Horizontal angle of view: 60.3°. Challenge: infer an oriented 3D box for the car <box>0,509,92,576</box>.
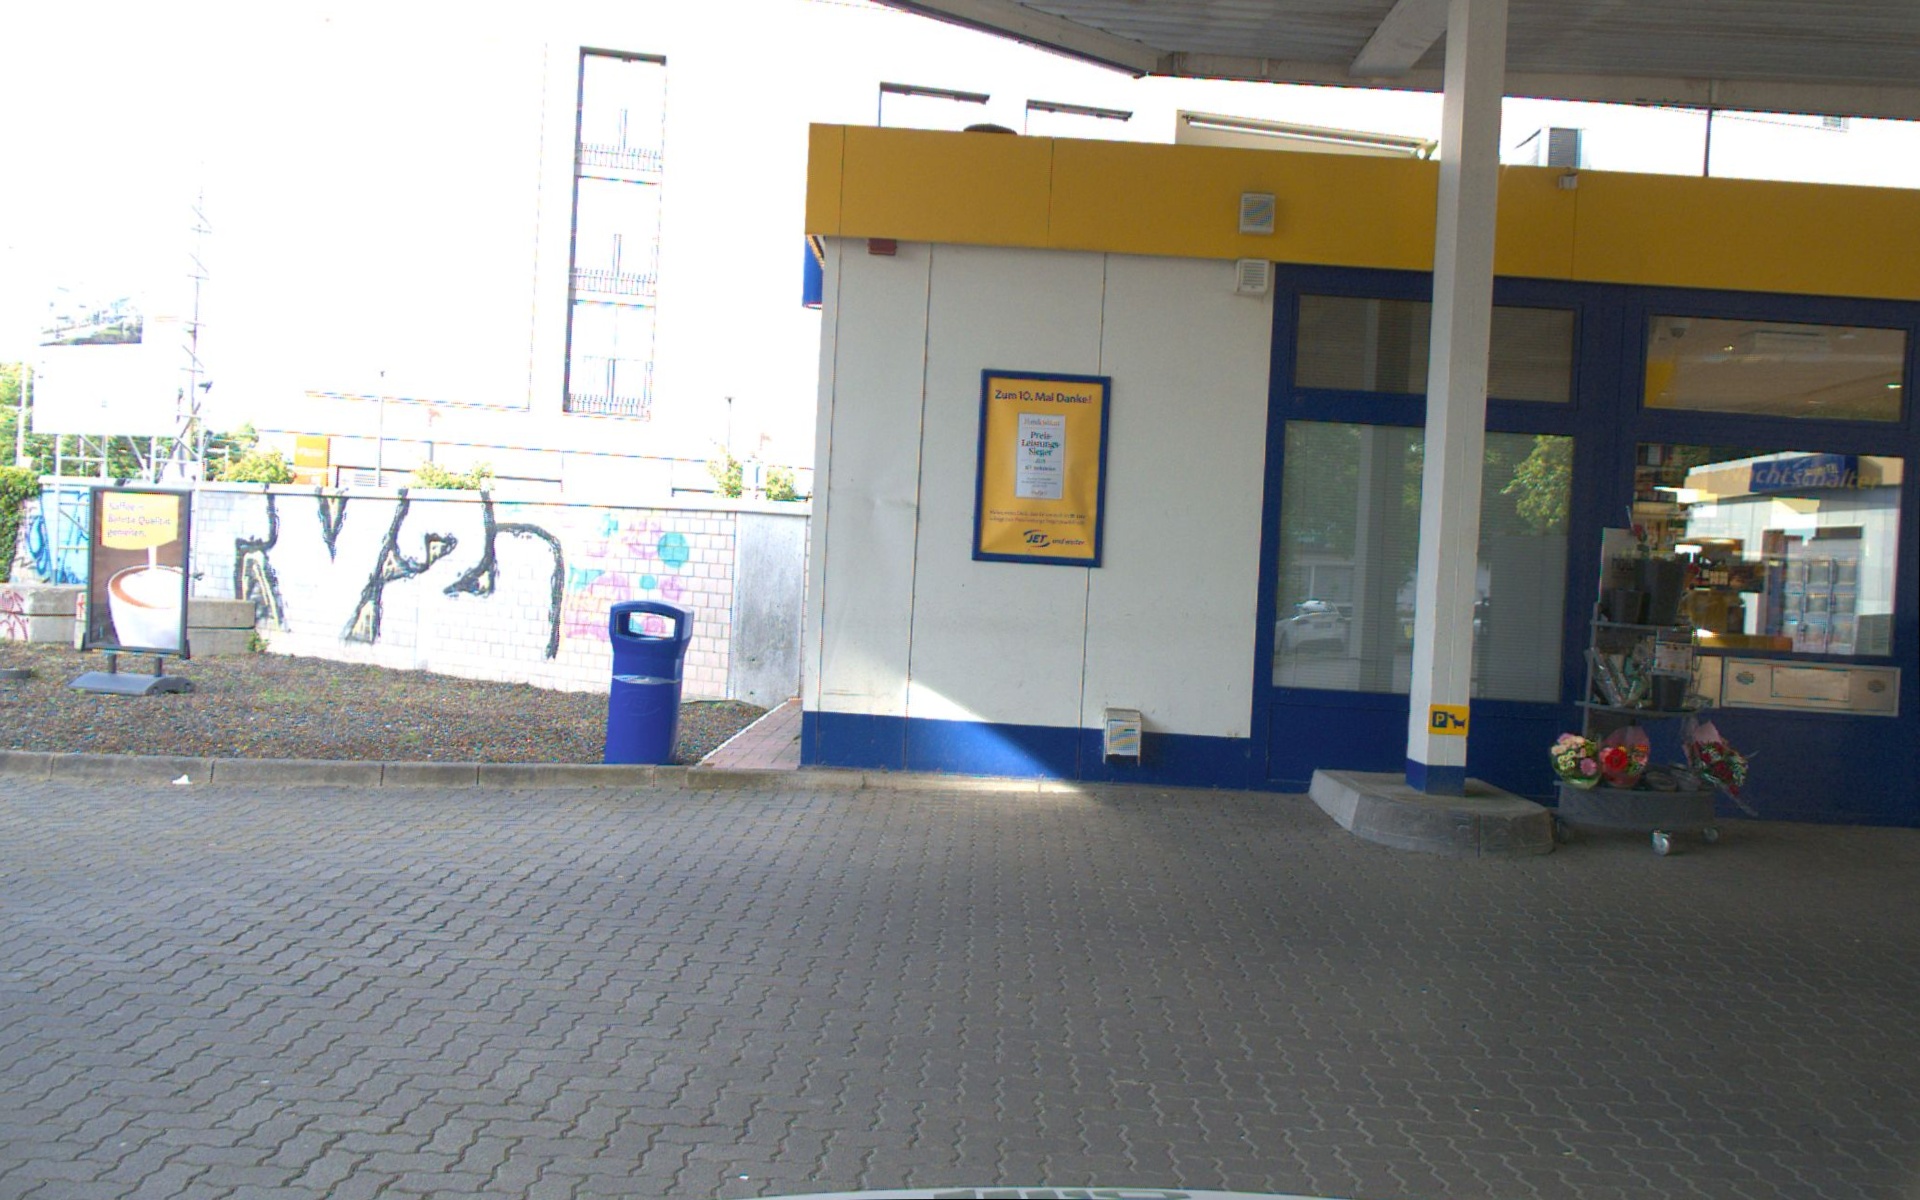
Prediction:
[{"bbox_3d":[-26.032,-1.617,46.708,1.737,1.686,4.828,4,0,-17],"label":"car"}]
